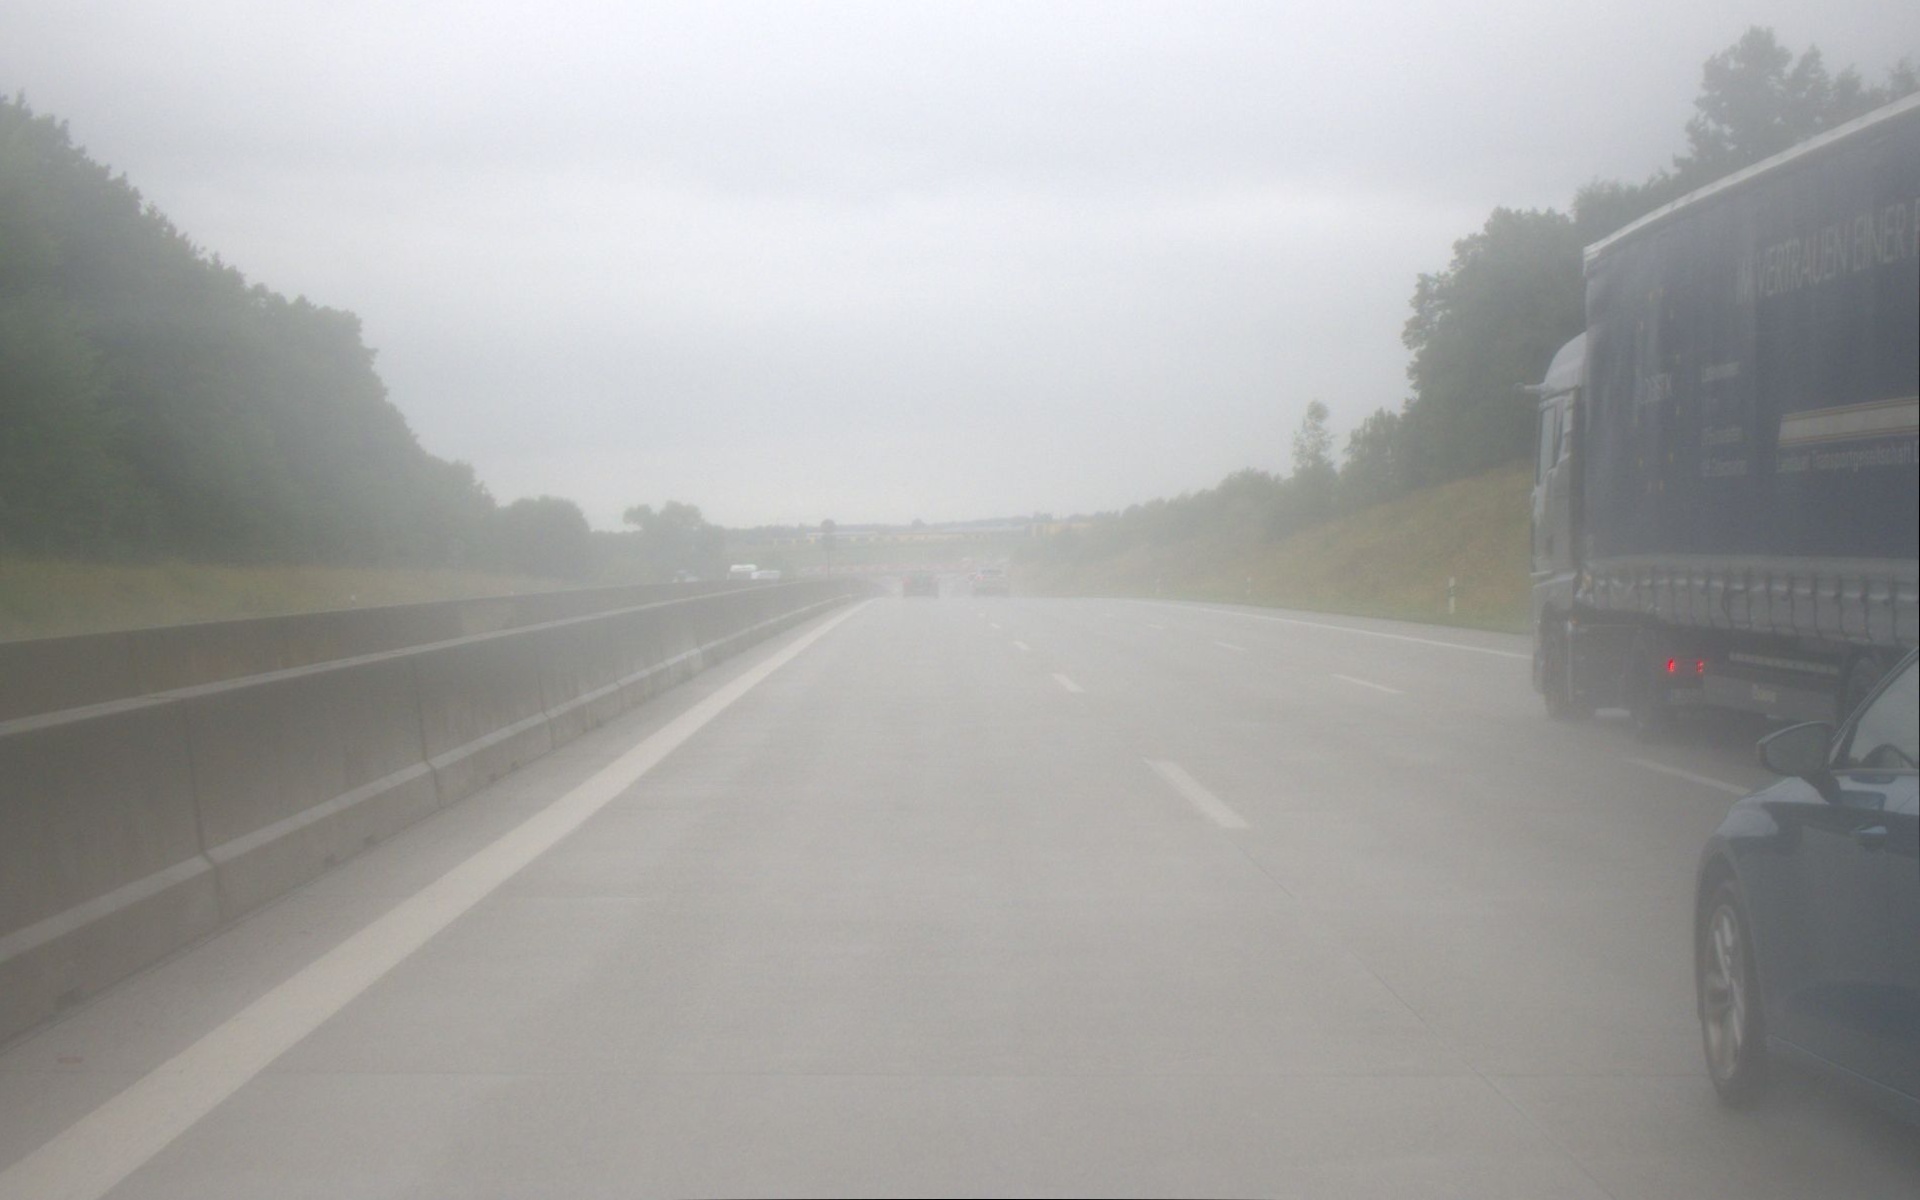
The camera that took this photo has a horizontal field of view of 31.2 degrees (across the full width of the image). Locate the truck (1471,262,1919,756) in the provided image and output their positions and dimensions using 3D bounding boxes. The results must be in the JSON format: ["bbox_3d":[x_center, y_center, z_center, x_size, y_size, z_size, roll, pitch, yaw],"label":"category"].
[{"bbox_3d":[6.365,-0.771,30.522,2.636,3.940,5.686,1,1,-1],"label":"truck"}]

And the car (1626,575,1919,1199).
[{"bbox_3d":[2.890,0.662,7.935,1.729,1.454,4.672,-1,0,-1],"label":"car"}]

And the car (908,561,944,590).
[{"bbox_3d":[-1.687,-1.215,168.302,1.729,1.326,4.430,0,1,-1],"label":"car"}]

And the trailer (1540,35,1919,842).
[{"bbox_3d":[6.515,-0.917,22.560,2.706,4.364,15.205,1,1,0],"label":"trailer"}]

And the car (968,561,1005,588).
[{"bbox_3d":[1.385,-1.364,180.322,1.847,1.326,4.430,0,1,0],"label":"car"}]
